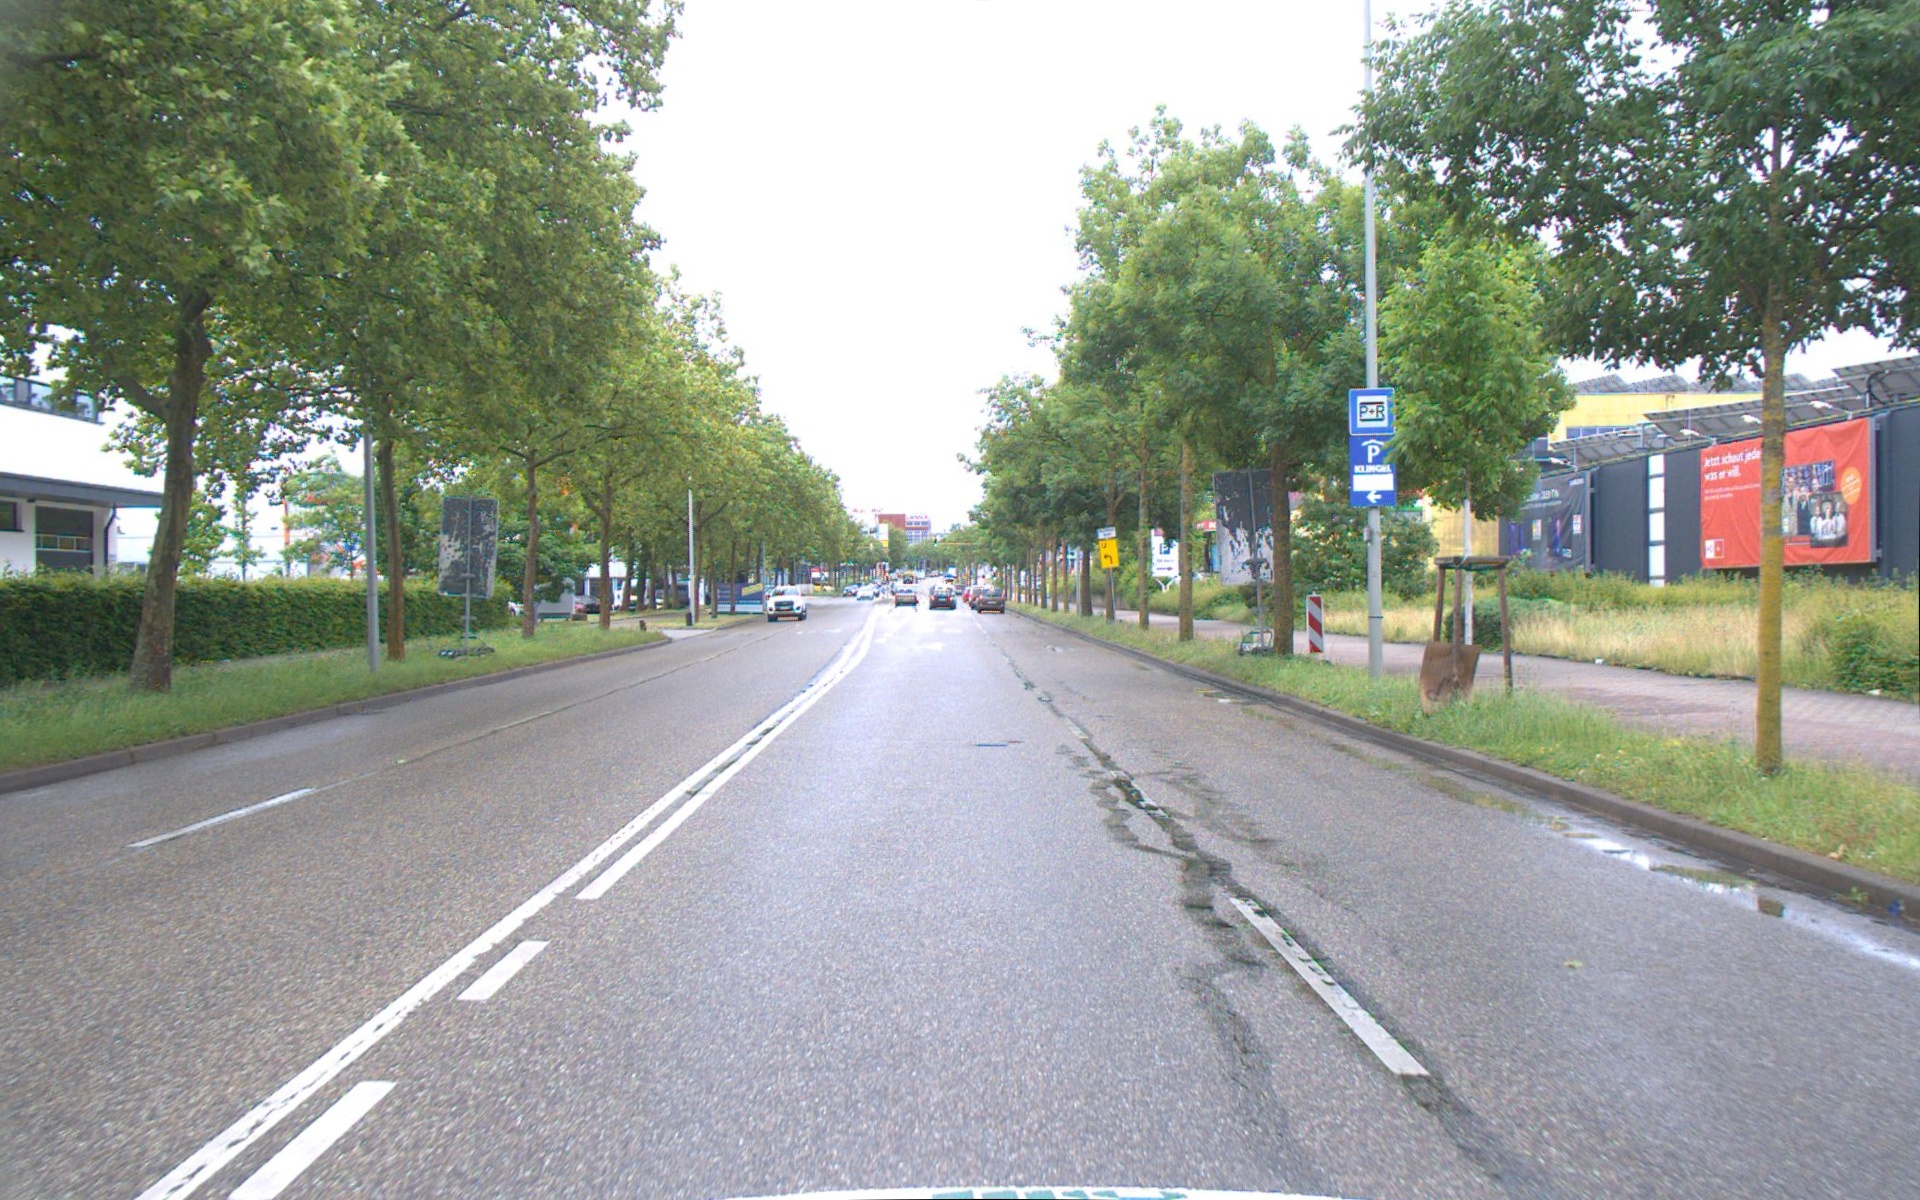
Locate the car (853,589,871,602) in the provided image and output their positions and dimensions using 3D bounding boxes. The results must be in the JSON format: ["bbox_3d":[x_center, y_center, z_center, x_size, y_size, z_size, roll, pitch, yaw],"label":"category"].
[{"bbox_3d":[-11.211,-0.503,189.667,1.954,1.454,4.681,-2,0,-5],"label":"car"}]

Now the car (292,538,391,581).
[{"bbox_3d":[-29.137,-1.891,77.999,3.905,1.922,1.963,-1,0,0],"label":"car"}]

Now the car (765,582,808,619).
[{"bbox_3d":[-9.143,0.020,87.607,1.873,1.837,5.339,-2,0,-2],"label":"car"}]

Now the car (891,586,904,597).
[{"bbox_3d":[-8.261,-1.154,218.306,1.649,1.401,3.996,-1,1,-5],"label":"car"}]

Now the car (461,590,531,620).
[{"bbox_3d":[-29.183,0.330,104.080,3.908,1.797,1.881,-1,0,-4],"label":"car"}]

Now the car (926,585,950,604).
[{"bbox_3d":[-1.634,-0.423,122.499,1.745,1.422,3.999,0,0,-2],"label":"car"}]

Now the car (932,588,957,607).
[{"bbox_3d":[-1.212,-0.220,128.861,1.649,1.401,3.996,-1,1,-5],"label":"car"}]

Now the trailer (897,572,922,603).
[{"bbox_3d":[-4.944,-1.216,160.378,2.325,2.947,5.543,-1,0,-2],"label":"trailer"}]

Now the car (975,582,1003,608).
[{"bbox_3d":[1.876,-0.360,108.791,1.691,1.652,4.470,-1,0,-1],"label":"car"}]

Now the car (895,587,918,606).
[{"bbox_3d":[-4.679,-0.339,145.434,1.868,1.606,4.879,-1,0,-1],"label":"car"}]

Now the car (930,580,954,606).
[{"bbox_3d":[-1.499,-0.589,136.033,1.953,2.049,3.999,1,0,-1],"label":"car"}]

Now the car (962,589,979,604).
[{"bbox_3d":[1.078,-0.360,166.592,1.661,1.468,3.989,-1,0,-1],"label":"car"}]

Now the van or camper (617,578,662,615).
[{"bbox_3d":[-22.645,-0.264,117.127,1.953,2.513,6.400,1,0,-1],"label":"van or camper"}]

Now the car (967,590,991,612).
[{"bbox_3d":[1.442,0.071,127.749,1.764,1.614,4.450,1,1,-1],"label":"car"}]
